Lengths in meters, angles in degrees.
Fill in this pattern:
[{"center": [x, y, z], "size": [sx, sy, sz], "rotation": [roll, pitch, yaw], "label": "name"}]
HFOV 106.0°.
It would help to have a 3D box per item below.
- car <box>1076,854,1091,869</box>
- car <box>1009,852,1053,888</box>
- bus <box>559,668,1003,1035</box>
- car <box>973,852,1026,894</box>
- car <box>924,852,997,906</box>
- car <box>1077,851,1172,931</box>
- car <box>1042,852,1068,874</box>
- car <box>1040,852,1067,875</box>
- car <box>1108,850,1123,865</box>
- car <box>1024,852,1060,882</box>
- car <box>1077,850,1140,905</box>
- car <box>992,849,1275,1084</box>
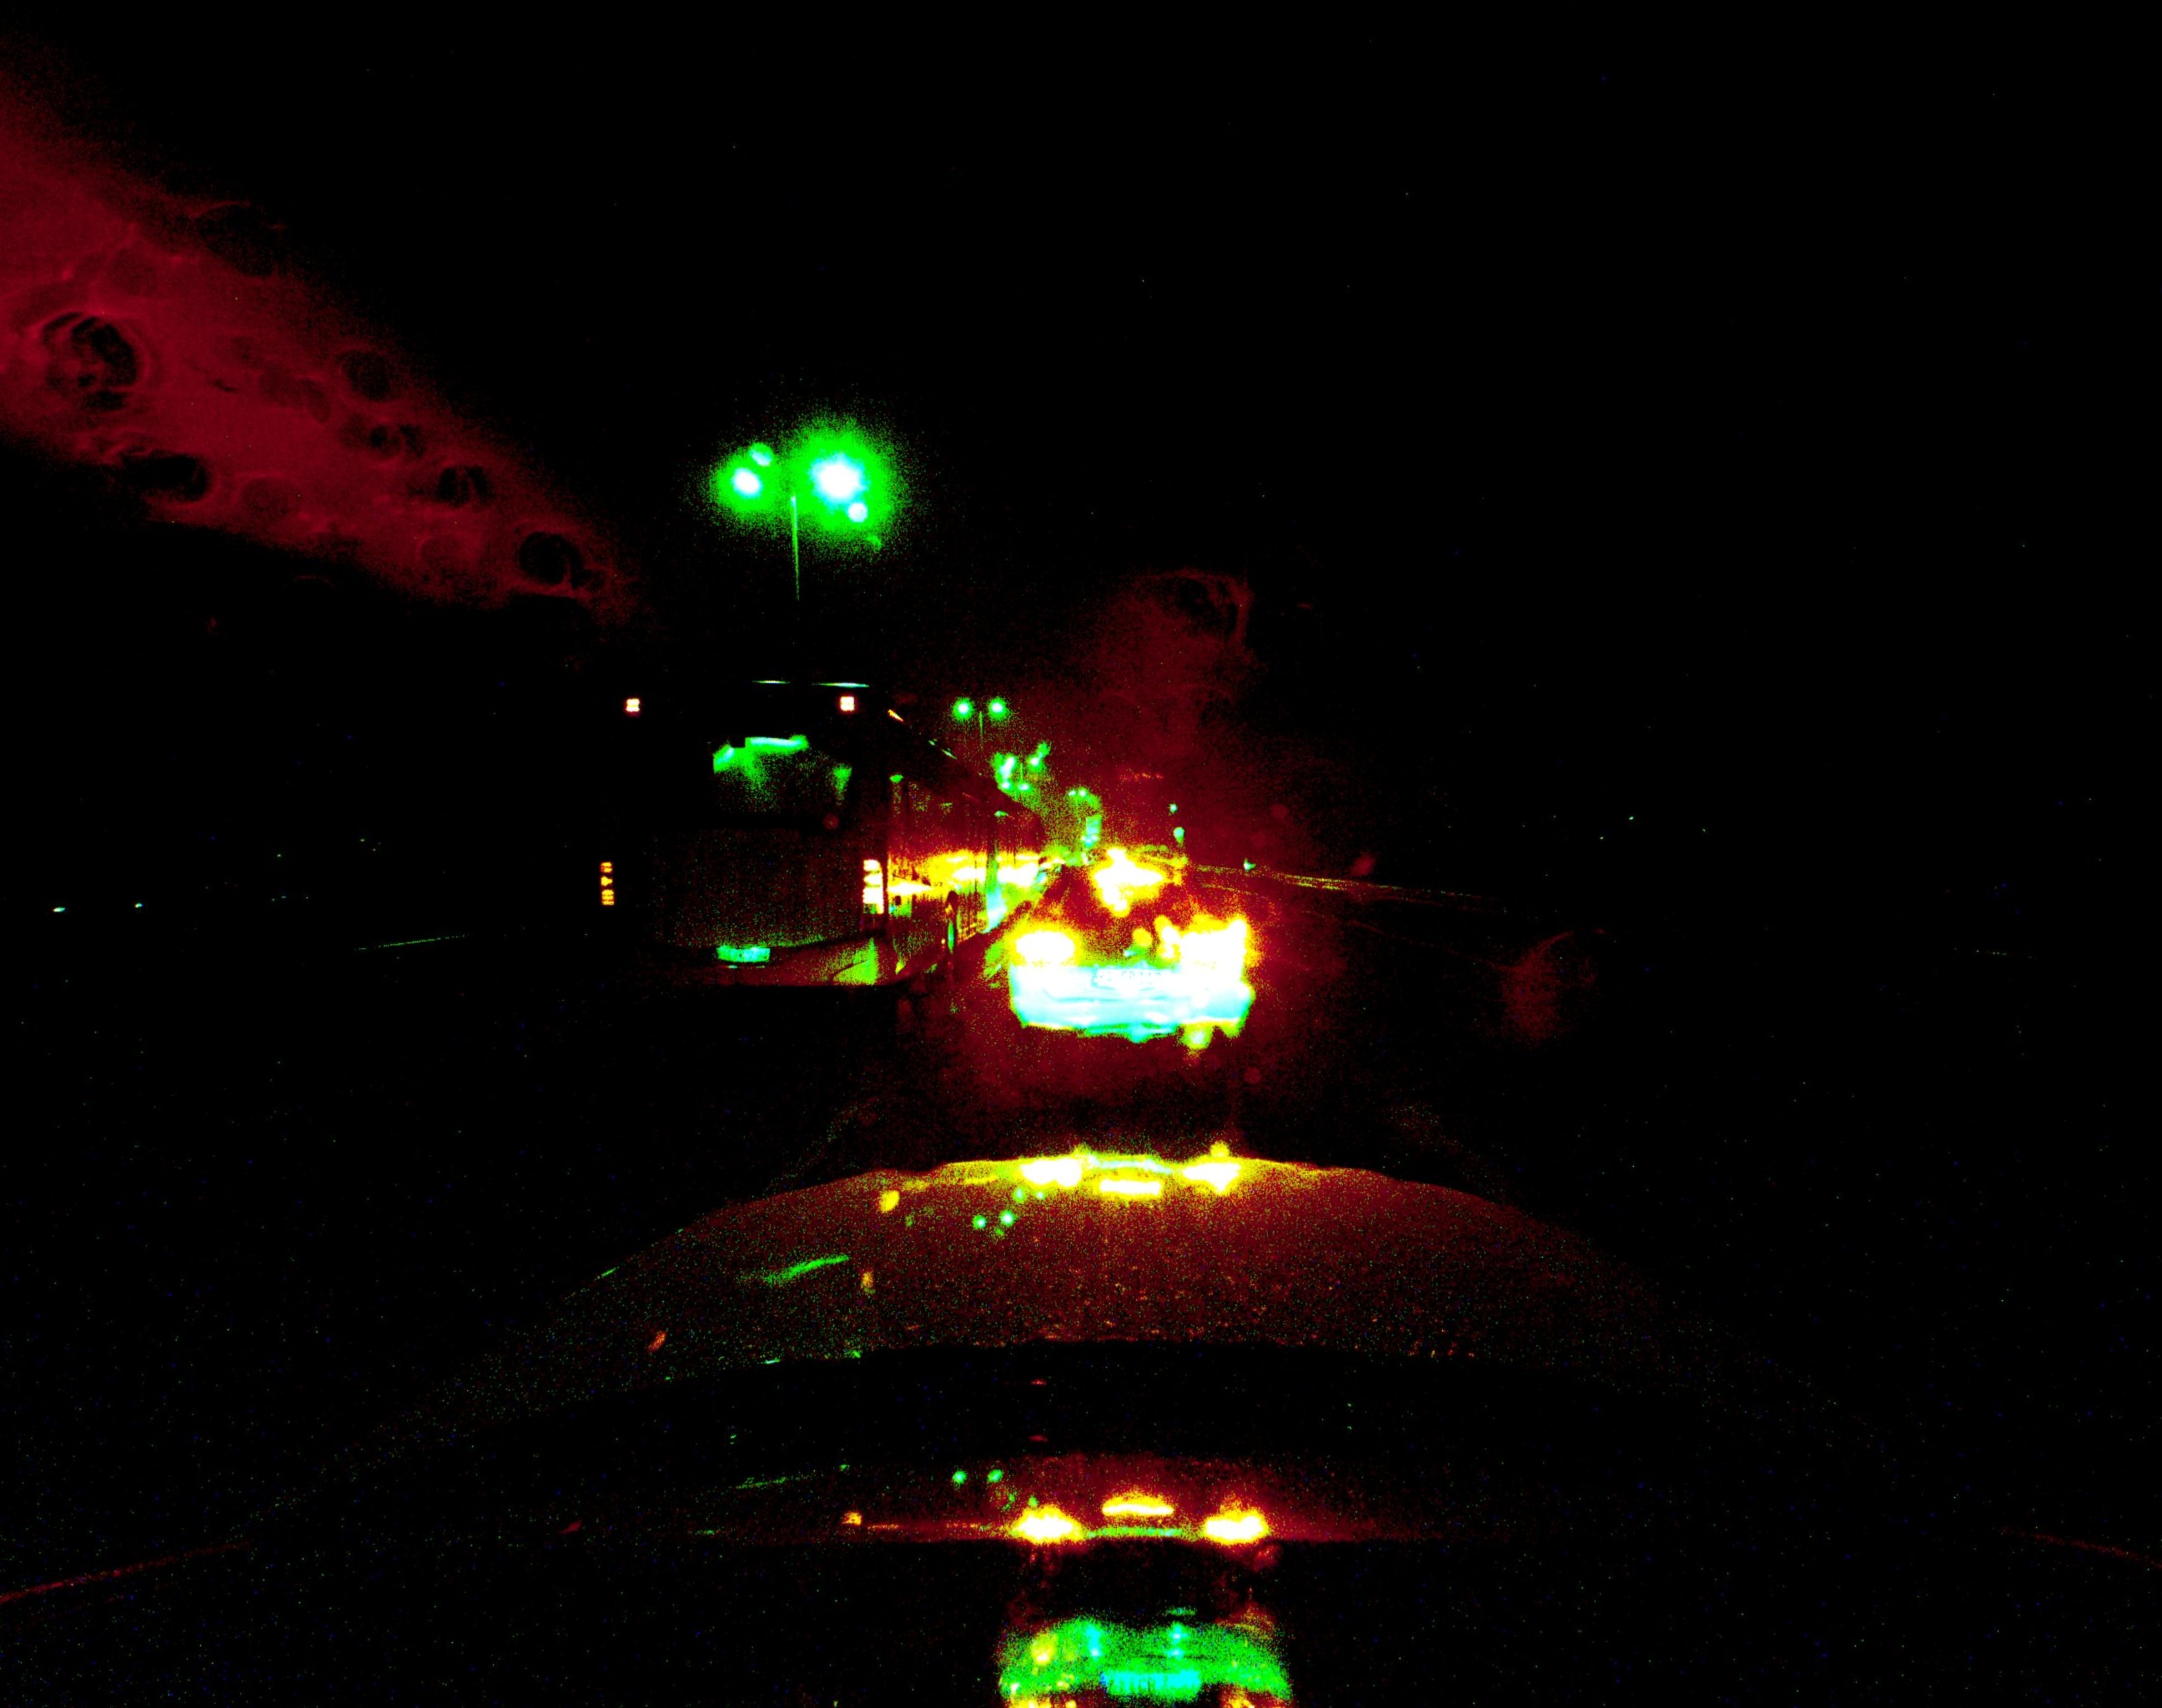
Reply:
[{"center": [0.329, 0.932, 100.566], "size": [1.810, 1.797, 3.804], "rotation": [0, -1, 2], "label": "car"}, {"center": [-2.202, 0.677, 36.508], "size": [1.774, 1.543, 3.873], "rotation": [-1, 0, -1], "label": "car"}, {"center": [-2.925, -0.038, 11.159], "size": [2.806, 3.024, 8.686], "rotation": [-1, 0, 0], "label": "bus"}, {"center": [-3.181, 0.718, 32.413], "size": [1.775, 1.543, 3.872], "rotation": [-1, 0, -2], "label": "car"}, {"center": [-3.657, 0.717, 25.350], "size": [1.775, 1.543, 3.872], "rotation": [-1, 0, -2], "label": "car"}, {"center": [0.795, 0.671, 17.219], "size": [1.726, 1.449, 4.724], "rotation": [-1, 0, 0], "label": "car"}, {"center": [-1.936, 0.651, 61.926], "size": [1.773, 1.543, 3.876], "rotation": [-1, 0, 1], "label": "car"}, {"center": [-1.898, 0.634, 56.247], "size": [1.775, 1.543, 3.872], "rotation": [-1, 0, -2], "label": "car"}, {"center": [4.494, 0.446, 106.044], "size": [1.945, 1.882, 4.001], "rotation": [0, -1, 2], "label": "car"}, {"center": [-2.107, 0.670, 44.994], "size": [1.774, 1.543, 3.874], "rotation": [-1, 0, 0], "label": "car"}, {"center": [0.789, 0.686, 25.375], "size": [1.735, 1.565, 3.774], "rotation": [-1, 0, -2], "label": "car"}, {"center": [0.349, 0.724, 7.568], "size": [1.816, 1.484, 4.567], "rotation": [-1, 0, 0], "label": "car"}]
